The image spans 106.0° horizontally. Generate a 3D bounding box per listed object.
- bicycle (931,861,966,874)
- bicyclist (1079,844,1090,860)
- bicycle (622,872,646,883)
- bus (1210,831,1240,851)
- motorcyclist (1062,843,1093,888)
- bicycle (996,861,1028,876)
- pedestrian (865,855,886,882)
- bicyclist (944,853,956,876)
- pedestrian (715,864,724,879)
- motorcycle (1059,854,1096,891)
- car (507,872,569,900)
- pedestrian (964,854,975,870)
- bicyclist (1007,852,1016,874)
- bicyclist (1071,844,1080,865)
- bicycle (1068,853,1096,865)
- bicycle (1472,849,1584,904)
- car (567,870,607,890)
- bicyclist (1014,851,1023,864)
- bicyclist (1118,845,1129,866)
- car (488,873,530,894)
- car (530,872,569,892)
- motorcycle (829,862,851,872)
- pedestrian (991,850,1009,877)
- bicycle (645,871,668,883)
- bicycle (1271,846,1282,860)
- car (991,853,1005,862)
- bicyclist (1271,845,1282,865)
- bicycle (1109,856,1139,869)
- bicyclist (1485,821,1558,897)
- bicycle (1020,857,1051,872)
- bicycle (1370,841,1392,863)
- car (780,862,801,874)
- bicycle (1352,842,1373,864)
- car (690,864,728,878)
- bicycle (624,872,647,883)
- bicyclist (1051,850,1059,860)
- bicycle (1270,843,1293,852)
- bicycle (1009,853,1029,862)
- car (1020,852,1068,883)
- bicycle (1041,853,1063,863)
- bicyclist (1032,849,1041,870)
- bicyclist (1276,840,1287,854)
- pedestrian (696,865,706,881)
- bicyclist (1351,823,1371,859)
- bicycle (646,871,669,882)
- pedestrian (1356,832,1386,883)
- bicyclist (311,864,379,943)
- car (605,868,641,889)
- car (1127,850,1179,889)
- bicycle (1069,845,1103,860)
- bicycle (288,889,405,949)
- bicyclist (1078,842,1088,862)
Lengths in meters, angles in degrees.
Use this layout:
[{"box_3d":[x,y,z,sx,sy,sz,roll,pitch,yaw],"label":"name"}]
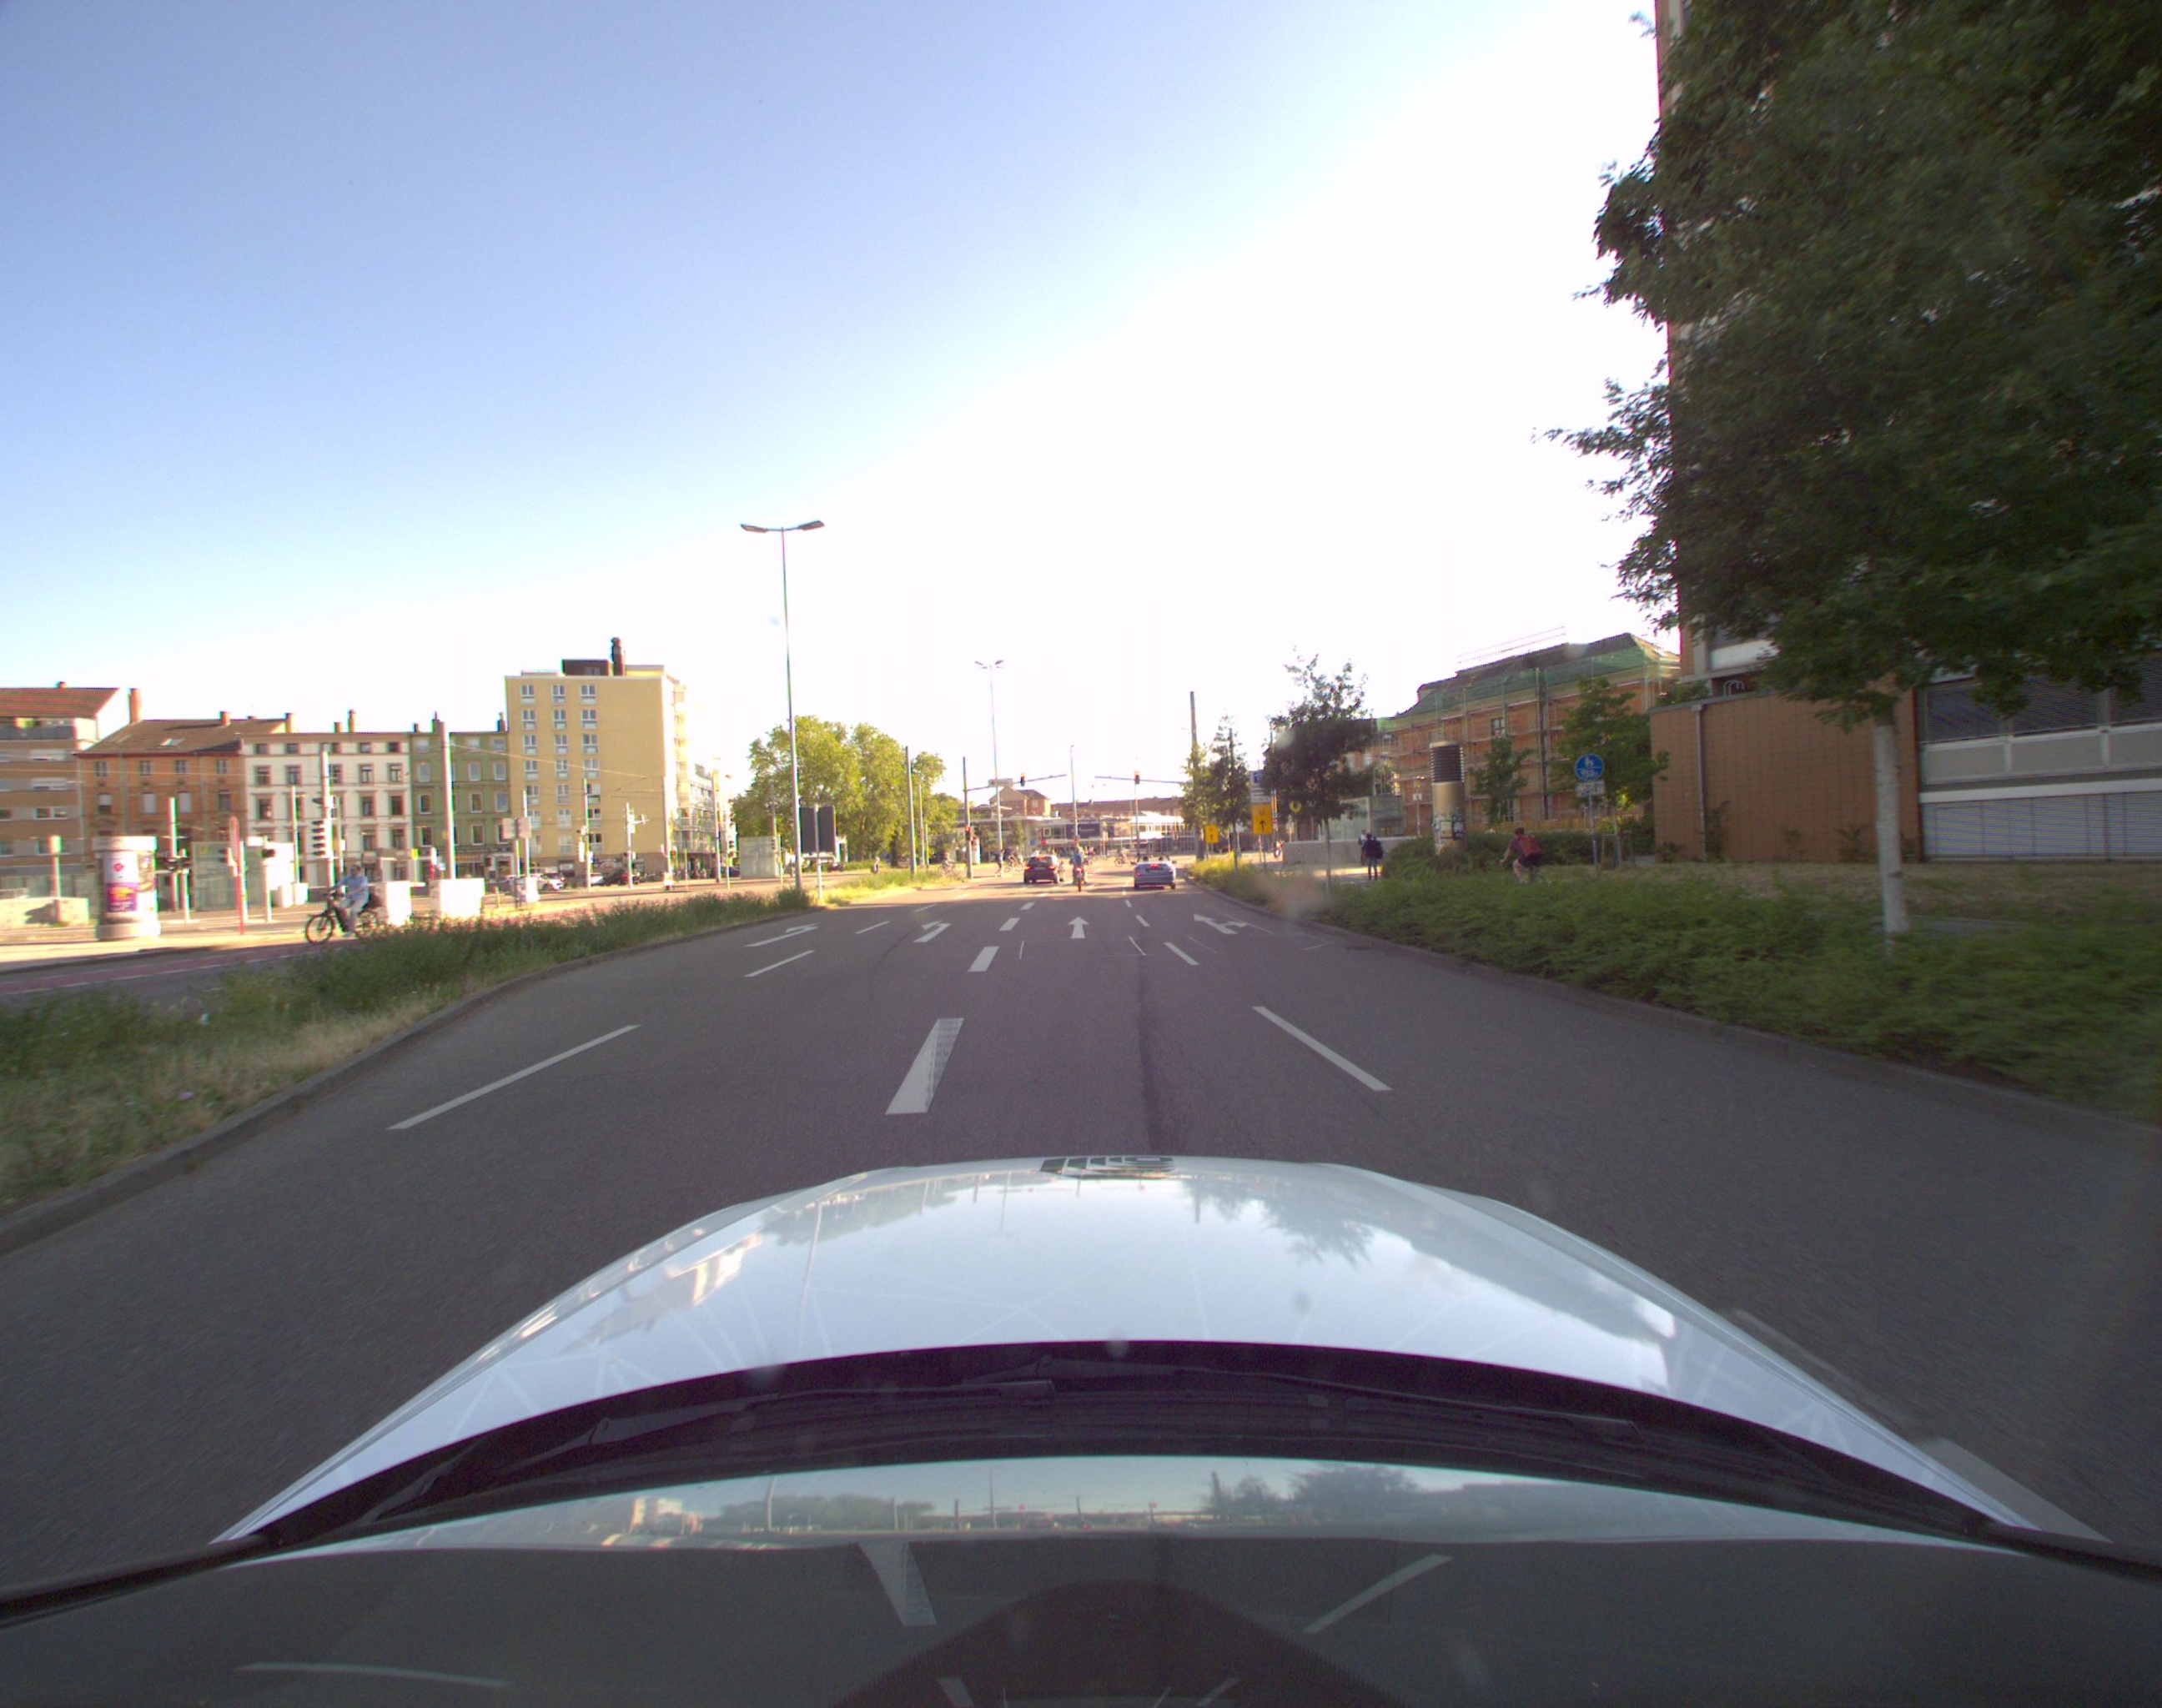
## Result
[{"box_3d":[-10.125,1.040,62.285,2.498,0.874,0.856,-2,2,-16],"label":"bicycle"},{"box_3d":[0.449,-0.234,100.019,1.071,1.900,1.118,-2,2,-13],"label":"bicyclist"},{"box_3d":[-48.655,2.597,88.674,2.045,1.090,0.773,-3,0,-14],"label":"bicycle"},{"box_3d":[23.259,-2.144,131.322,2.332,2.882,9.636,-1,2,25],"label":"bus"},{"box_3d":[-0.130,0.447,31.893,1.090,1.721,0.938,-2,0,6],"label":"motorcyclist"},{"box_3d":[-5.520,1.148,64.851,2.490,1.133,0.858,-2,2,-6],"label":"bicycle"},{"box_3d":[-13.013,0.914,51.568,1.091,1.606,0.698,-2,2,-5],"label":"pedestrian"},{"box_3d":[-10.038,0.792,62.310,0.746,1.690,0.856,-2,2,-16],"label":"bicyclist"},{"box_3d":[-41.524,2.059,93.535,0.776,1.676,0.780,-3,0,-11],"label":"pedestrian"},{"box_3d":[-0.112,0.685,31.977,1.090,1.377,2.658,-2,0,7],"label":"motorcycle"},{"box_3d":[-45.216,2.665,67.847,3.740,2.013,1.991,-2,2,-14],"label":"car"},{"box_3d":[-12.921,0.902,94.212,0.985,1.816,0.921,-2,2,4],"label":"pedestrian"},{"box_3d":[-5.503,0.734,64.846,0.648,1.690,0.858,-2,2,-6],"label":"bicyclist"},{"box_3d":[-0.477,0.037,69.779,0.582,1.777,0.864,-2,0,-9],"label":"bicyclist"},{"box_3d":[0.111,0.389,69.892,2.296,0.905,0.857,-2,2,-10],"label":"bicycle"},{"box_3d":[8.398,0.412,15.430,0.718,0.952,2.245,-1,-1,-5],"label":"bicycle"},{"box_3d":[-48.694,2.564,80.249,3.948,1.748,1.852,0,2,34],"label":"car"},{"box_3d":[-7.451,0.410,97.531,0.923,1.559,0.857,-2,2,-10],"label":"bicyclist"},{"box_3d":[3.427,0.120,65.800,0.649,1.690,0.857,-2,2,-10],"label":"bicyclist"},{"box_3d":[-55.347,2.833,78.833,3.958,1.719,2.100,0,2,36],"label":"car"},{"box_3d":[-51.844,2.702,79.482,3.948,1.719,1.852,0,2,36],"label":"car"},{"box_3d":[-27.706,1.501,93.621,2.283,1.054,0.686,-2,2,-8],"label":"motorcycle"},{"box_3d":[-5.136,0.597,51.364,0.832,1.671,0.691,-3,0,-34],"label":"pedestrian"},{"box_3d":[-46.538,2.513,89.216,2.045,1.090,0.773,-3,0,-14],"label":"bicycle"},{"box_3d":[16.400,-0.098,68.175,0.783,1.039,1.970,-5,-1,14],"label":"bicycle"},{"box_3d":[-14.471,0.601,142.926,1.987,1.534,4.000,-2,2,0],"label":"car"},{"box_3d":[16.357,0.053,68.064,0.784,1.593,0.951,-4,-1,14],"label":"bicyclist"},{"box_3d":[3.495,0.673,65.849,2.296,0.905,0.857,-2,2,-10],"label":"bicycle"},{"box_3d":[8.383,0.104,15.530,0.718,1.384,1.074,-1,-1,-5],"label":"bicyclist"},{"box_3d":[-3.769,0.836,67.688,2.495,1.133,0.856,-2,2,-13],"label":"bicycle"},{"box_3d":[15.403,-0.118,41.771,0.620,1.039,1.975,-5,-1,31],"label":"bicycle"},{"box_3d":[-38.285,1.799,107.455,1.847,1.452,3.986,-2,0,-10],"label":"car"},{"box_3d":[14.410,-0.033,41.754,0.783,1.039,1.970,-4,-1,14],"label":"bicycle"},{"box_3d":[-46.856,2.134,102.635,3.997,1.422,1.803,-3,0,-17],"label":"car"},{"box_3d":[-48.936,2.577,89.499,2.045,1.090,0.773,-3,0,-14],"label":"bicycle"},{"box_3d":[-3.078,0.077,95.064,0.714,1.142,0.833,-2,2,-16],"label":"bicyclist"},{"box_3d":[23.897,-0.740,97.156,2.438,1.003,0.960,-3,0,-10],"label":"bicycle"},{"box_3d":[-7.428,0.456,97.541,2.295,0.979,0.858,-2,2,-9],"label":"bicycle"},{"box_3d":[-1.819,0.636,41.084,1.792,1.444,3.985,-1,0,6],"label":"car"},{"box_3d":[-3.377,0.480,94.967,2.302,0.959,0.855,-4,2,-17],"label":"bicycle"},{"box_3d":[-3.702,0.427,67.699,0.650,1.690,0.857,-2,2,-12],"label":"bicyclist"},{"box_3d":[23.876,-0.805,97.167,0.923,1.559,0.960,-3,0,-10],"label":"bicyclist"},{"box_3d":[-43.479,2.169,93.104,0.776,1.676,0.780,-3,0,-11],"label":"pedestrian"},{"box_3d":[14.349,-0.657,41.717,0.781,1.786,0.897,-4,-1,13],"label":"bicyclist"},{"box_3d":[-46.779,2.492,90.027,2.045,1.090,0.773,-3,0,-14],"label":"bicycle"},{"box_3d":[9.893,0.120,27.811,0.800,1.659,0.793,-3,-1,15],"label":"pedestrian"},{"box_3d":[-17.839,1.177,19.767,0.739,1.832,1.011,-2,-1,-7],"label":"bicyclist"},{"box_3d":[-45.722,2.428,81.278,3.949,1.857,1.865,0,2,42],"label":"car"},{"box_3d":[2.988,0.599,33.194,1.790,1.444,3.989,-1,0,10],"label":"car"},{"box_3d":[0.625,-0.159,100.060,3.991,1.689,1.134,-2,2,-13],"label":"bicycle"},{"box_3d":[-17.841,1.536,19.873,0.739,1.255,2.550,-2,-1,-7],"label":"bicycle"},{"box_3d":[0.157,-0.146,69.879,0.649,1.690,0.857,-2,2,-10],"label":"bicyclist"}]
